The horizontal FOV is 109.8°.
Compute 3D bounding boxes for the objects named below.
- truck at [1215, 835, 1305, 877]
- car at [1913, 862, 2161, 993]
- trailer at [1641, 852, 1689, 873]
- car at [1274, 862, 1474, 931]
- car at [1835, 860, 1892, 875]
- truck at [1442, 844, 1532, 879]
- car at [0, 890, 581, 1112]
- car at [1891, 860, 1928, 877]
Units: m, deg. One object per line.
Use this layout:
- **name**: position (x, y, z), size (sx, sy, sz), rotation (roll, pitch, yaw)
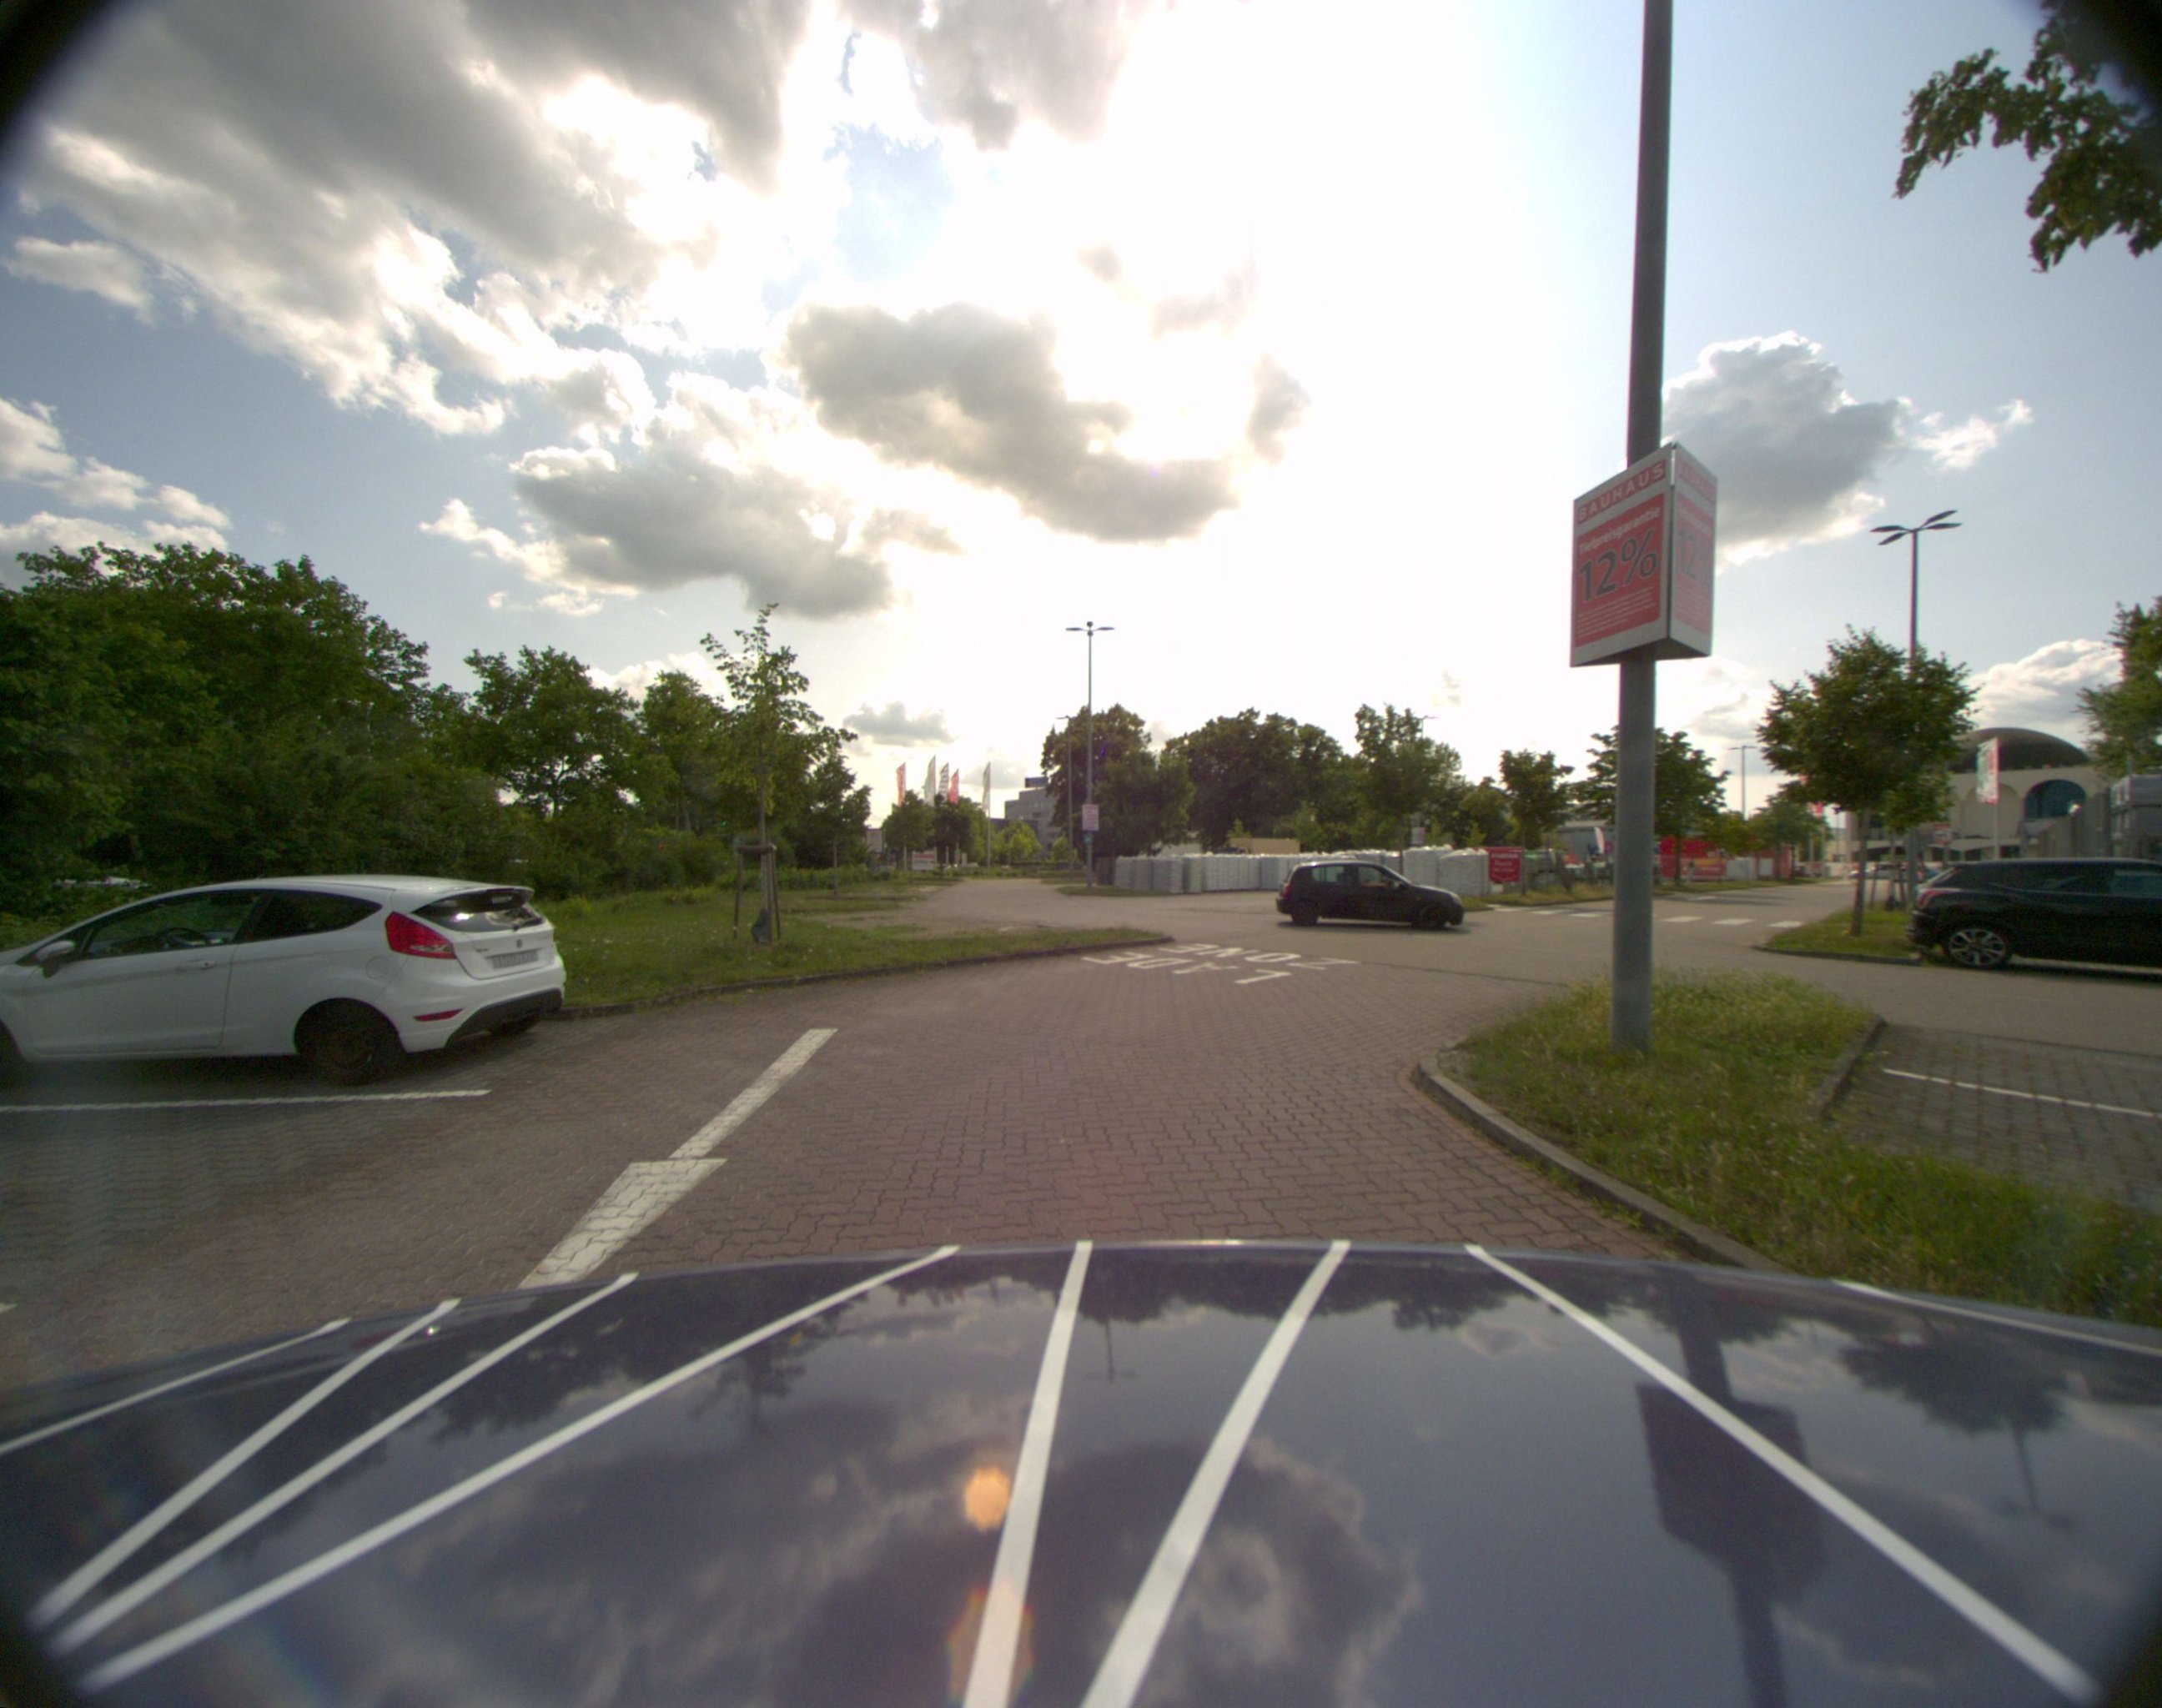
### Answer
- **truck**: position (16.171, 0.234, 68.148), size (9.055, 3.577, 2.722), rotation (1, 0, -38)
- **car**: position (14.117, 0.938, 10.126), size (1.739, 1.615, 3.952), rotation (0, 0, -38)
- **trailer**: position (70.673, 1.019, 91.962), size (1.772, 2.405, 4.265), rotation (-4, 3, -40)
- **car**: position (6.085, 0.850, 16.140), size (3.779, 1.313, 1.614), rotation (0, 0, 17)
- **car**: position (85.603, 1.463, 83.194), size (1.795, 1.500, 4.182), rotation (0, 0, -39)
- **truck**: position (29.815, 0.533, 55.964), size (2.121, 2.500, 5.429), rotation (1, 0, -42)
- **car**: position (-6.216, 1.020, 5.893), size (3.555, 1.403, 1.670), rotation (0, 0, -1)
- **car**: position (72.782, 1.270, 66.712), size (4.337, 1.456, 1.804), rotation (0, 0, -37)
